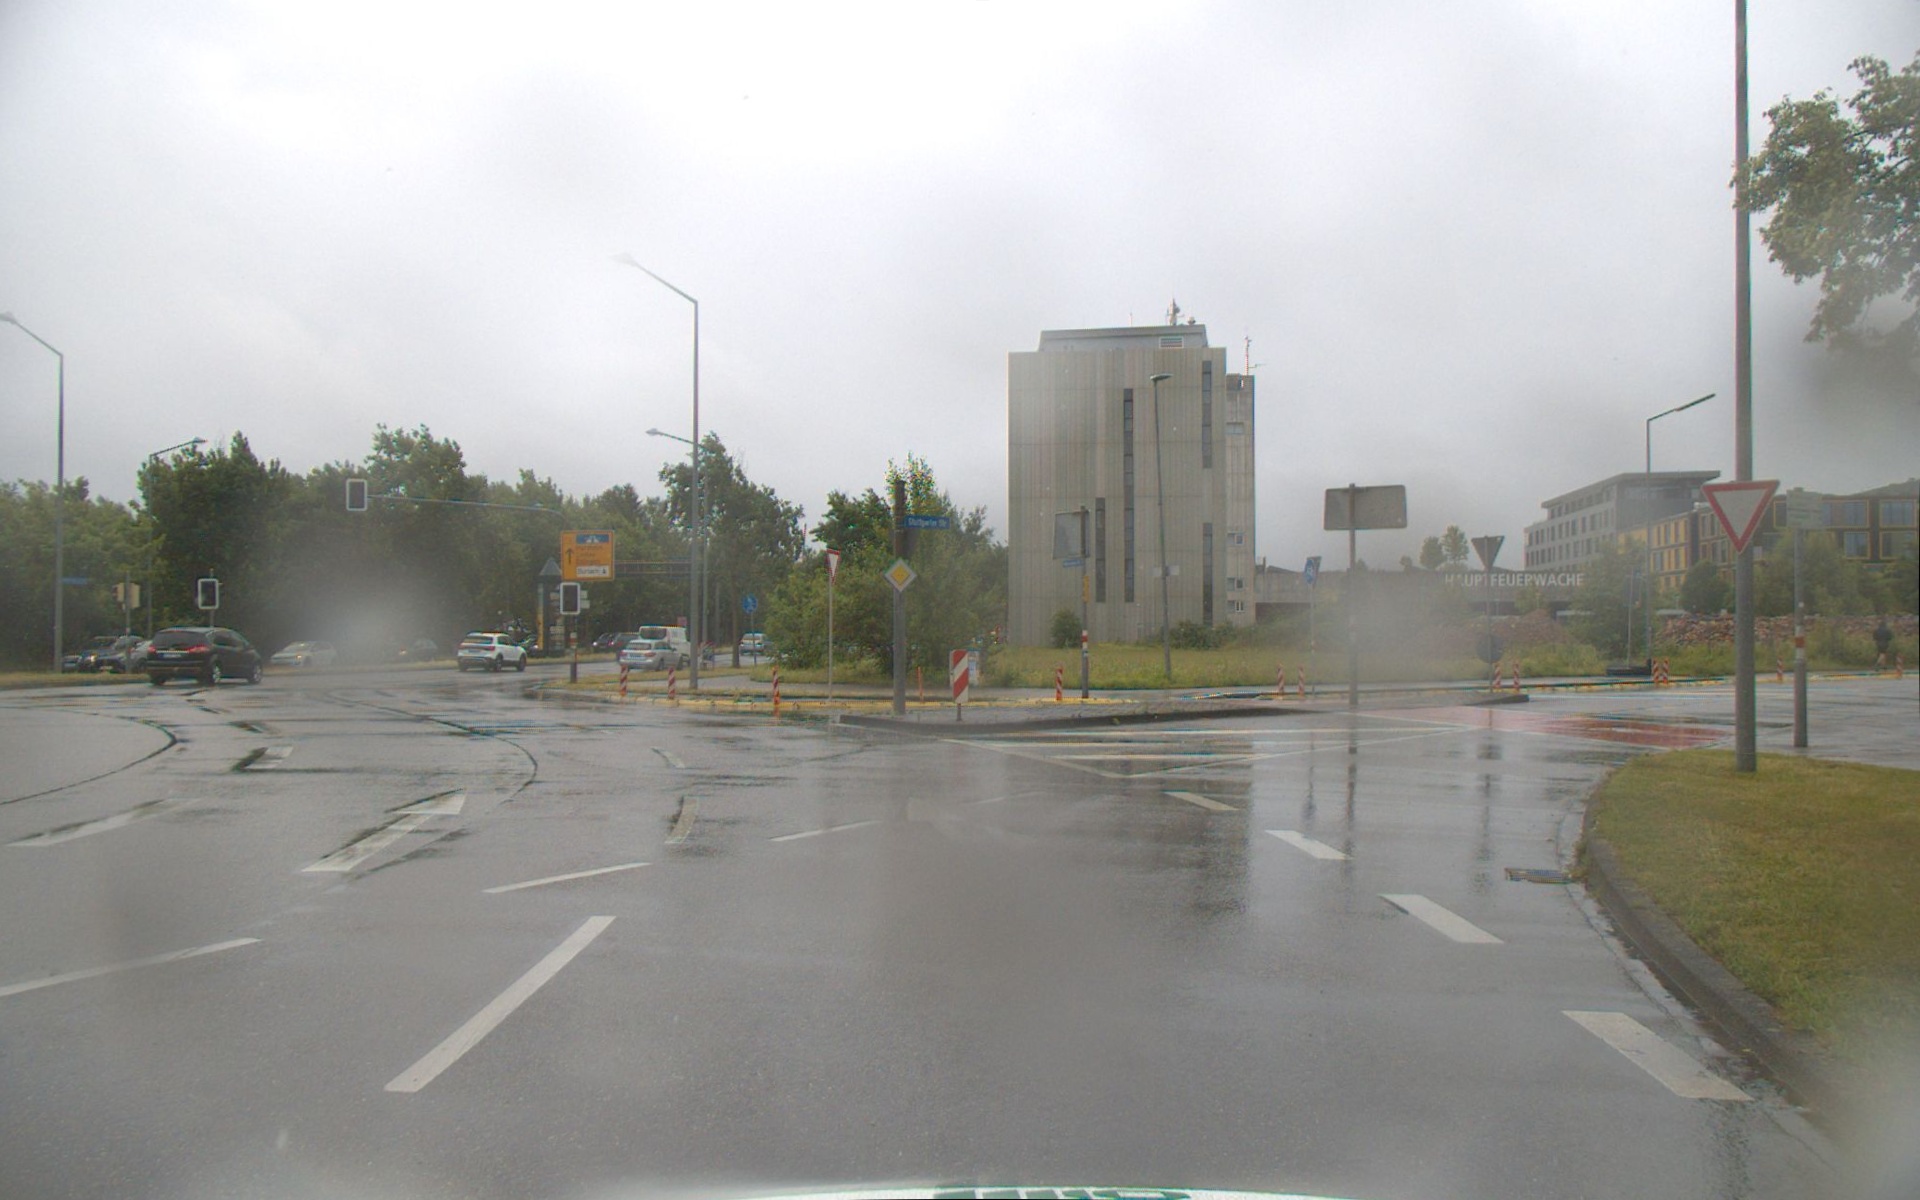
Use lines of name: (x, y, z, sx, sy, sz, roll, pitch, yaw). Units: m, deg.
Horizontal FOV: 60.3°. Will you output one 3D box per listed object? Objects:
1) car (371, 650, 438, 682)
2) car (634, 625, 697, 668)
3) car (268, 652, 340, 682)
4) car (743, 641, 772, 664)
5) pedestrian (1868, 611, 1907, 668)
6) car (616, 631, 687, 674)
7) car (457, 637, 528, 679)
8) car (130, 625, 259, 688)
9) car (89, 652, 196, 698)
car: (-30.935, 3.713, 92.227, 1.745, 1.677, 4.002, 1, -3, 11)
car: (-15.144, 2.439, 85.168, 1.745, 2.072, 4.002, 1, -3, 12)
car: (-32.251, 3.317, 81.422, 1.593, 1.400, 4.250, 2, -3, 3)
car: (-13.933, 3.587, 113.970, 1.654, 1.518, 3.250, 0, -1, -1)
pedestrian: (34.026, 1.456, 60.667, 1.117, 2.049, 0.839, 3, -3, -32)
car: (-13.793, 2.318, 74.152, 1.745, 1.842, 4.841, 0, -1, 7)
car: (-19.976, 2.503, 70.822, 1.645, 1.677, 3.948, 1, -3, 4)
car: (-22.063, 1.651, 47.814, 1.746, 1.677, 3.999, 2, -3, 1)
car: (-31.566, 2.893, 64.004, 1.746, 1.677, 4.394, 2, -3, 2)
